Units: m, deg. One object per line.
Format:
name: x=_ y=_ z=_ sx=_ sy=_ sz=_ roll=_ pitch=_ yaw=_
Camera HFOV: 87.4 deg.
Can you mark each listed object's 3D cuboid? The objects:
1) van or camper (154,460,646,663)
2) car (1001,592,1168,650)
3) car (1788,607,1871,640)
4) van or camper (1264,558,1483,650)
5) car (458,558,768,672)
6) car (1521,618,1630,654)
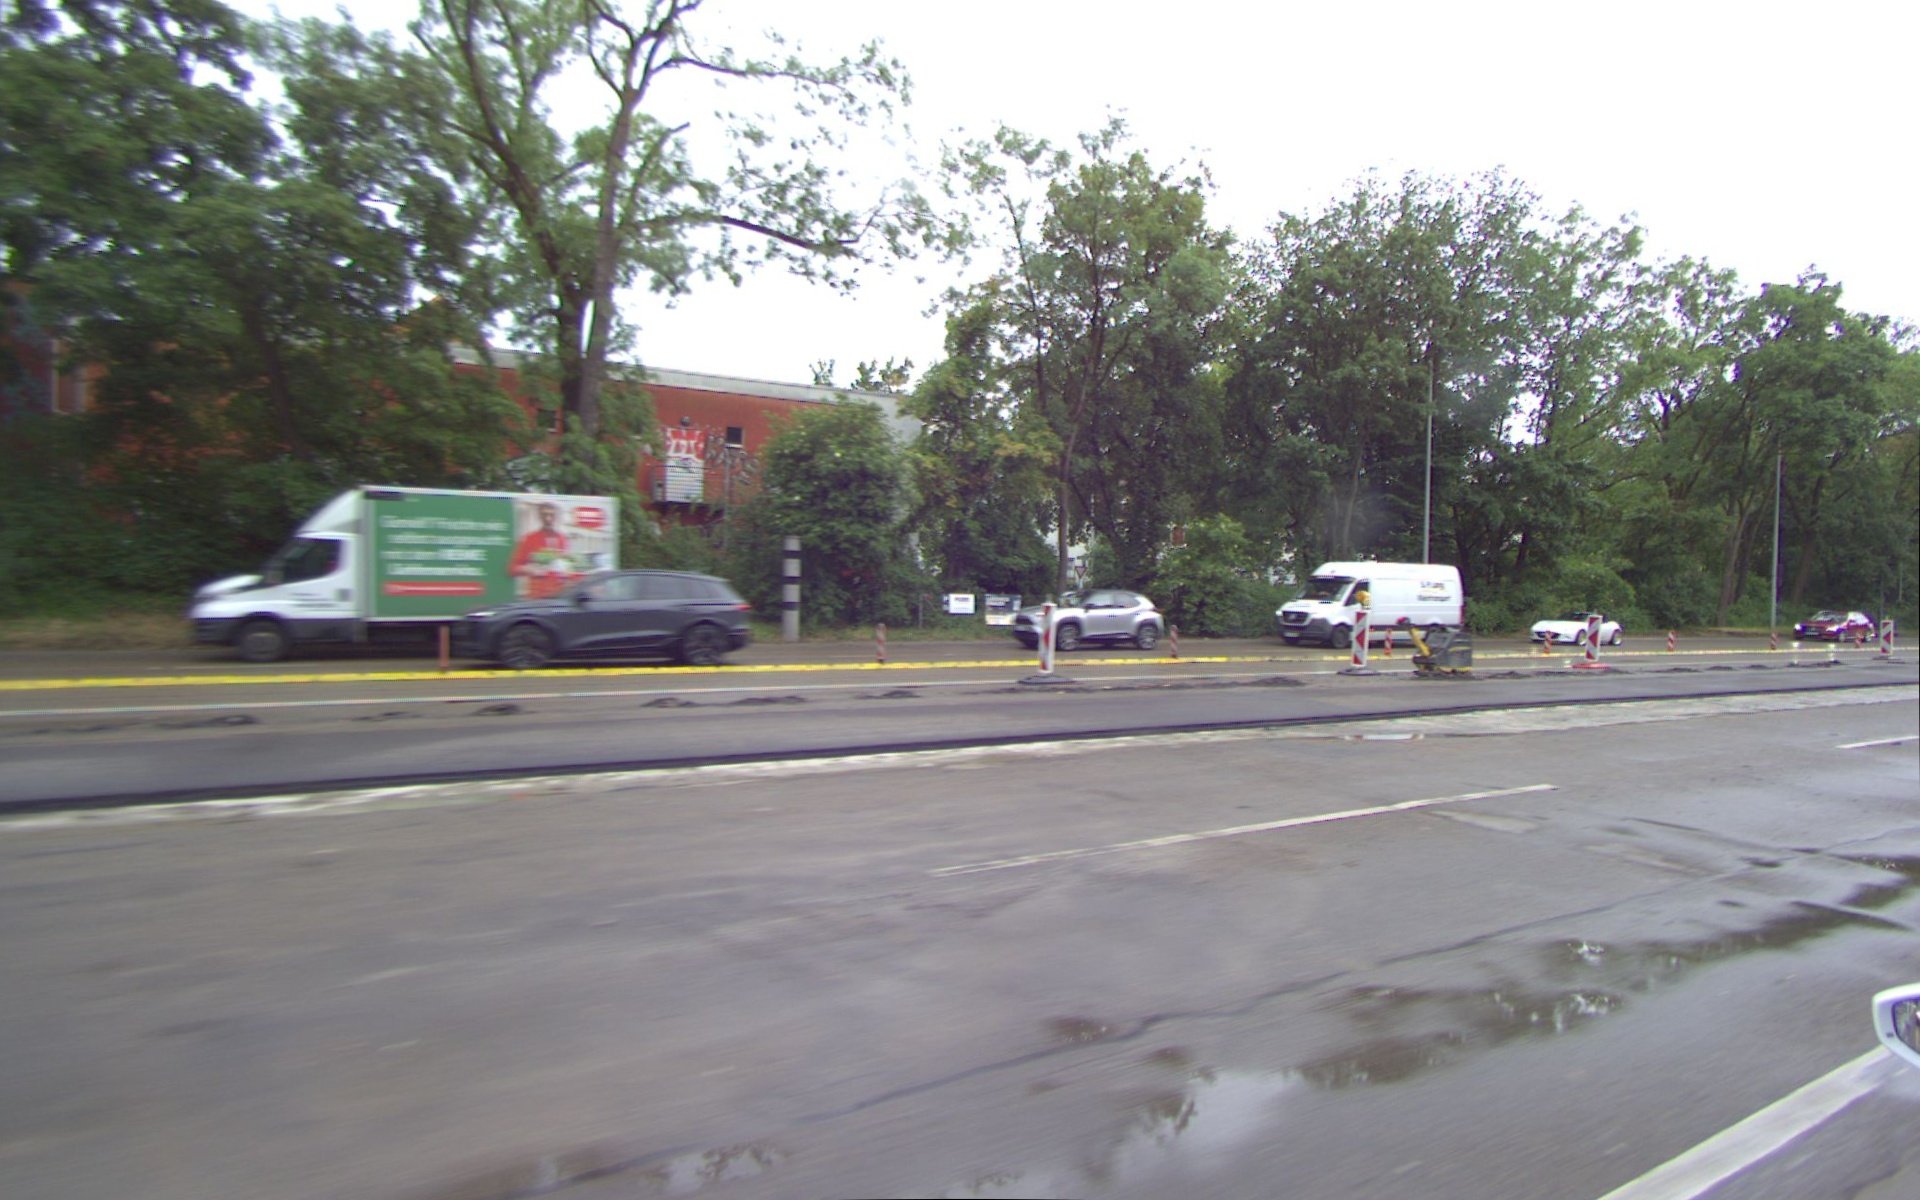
van or camper: x=-9.735 y=-0.556 z=18.267 sx=7.366 sy=3.104 sz=2.286 roll=1 pitch=1 yaw=-31
car: x=3.193 y=0.520 z=25.564 sx=4.034 sy=1.383 sz=1.707 roll=1 pitch=0 yaw=-31
car: x=41.898 y=1.143 z=48.377 sx=4.435 sy=1.496 sz=1.720 roll=1 pitch=0 yaw=-31
van or camper: x=12.992 y=0.132 z=31.298 sx=7.637 sy=2.589 sz=1.984 roll=1 pitch=2 yaw=-30
car: x=-5.905 y=0.259 z=17.246 sx=4.751 sy=1.716 sz=1.984 roll=1 pitch=0 yaw=-30
car: x=22.762 y=1.316 z=37.133 sx=3.950 sy=1.199 sz=1.682 roll=1 pitch=2 yaw=-28
